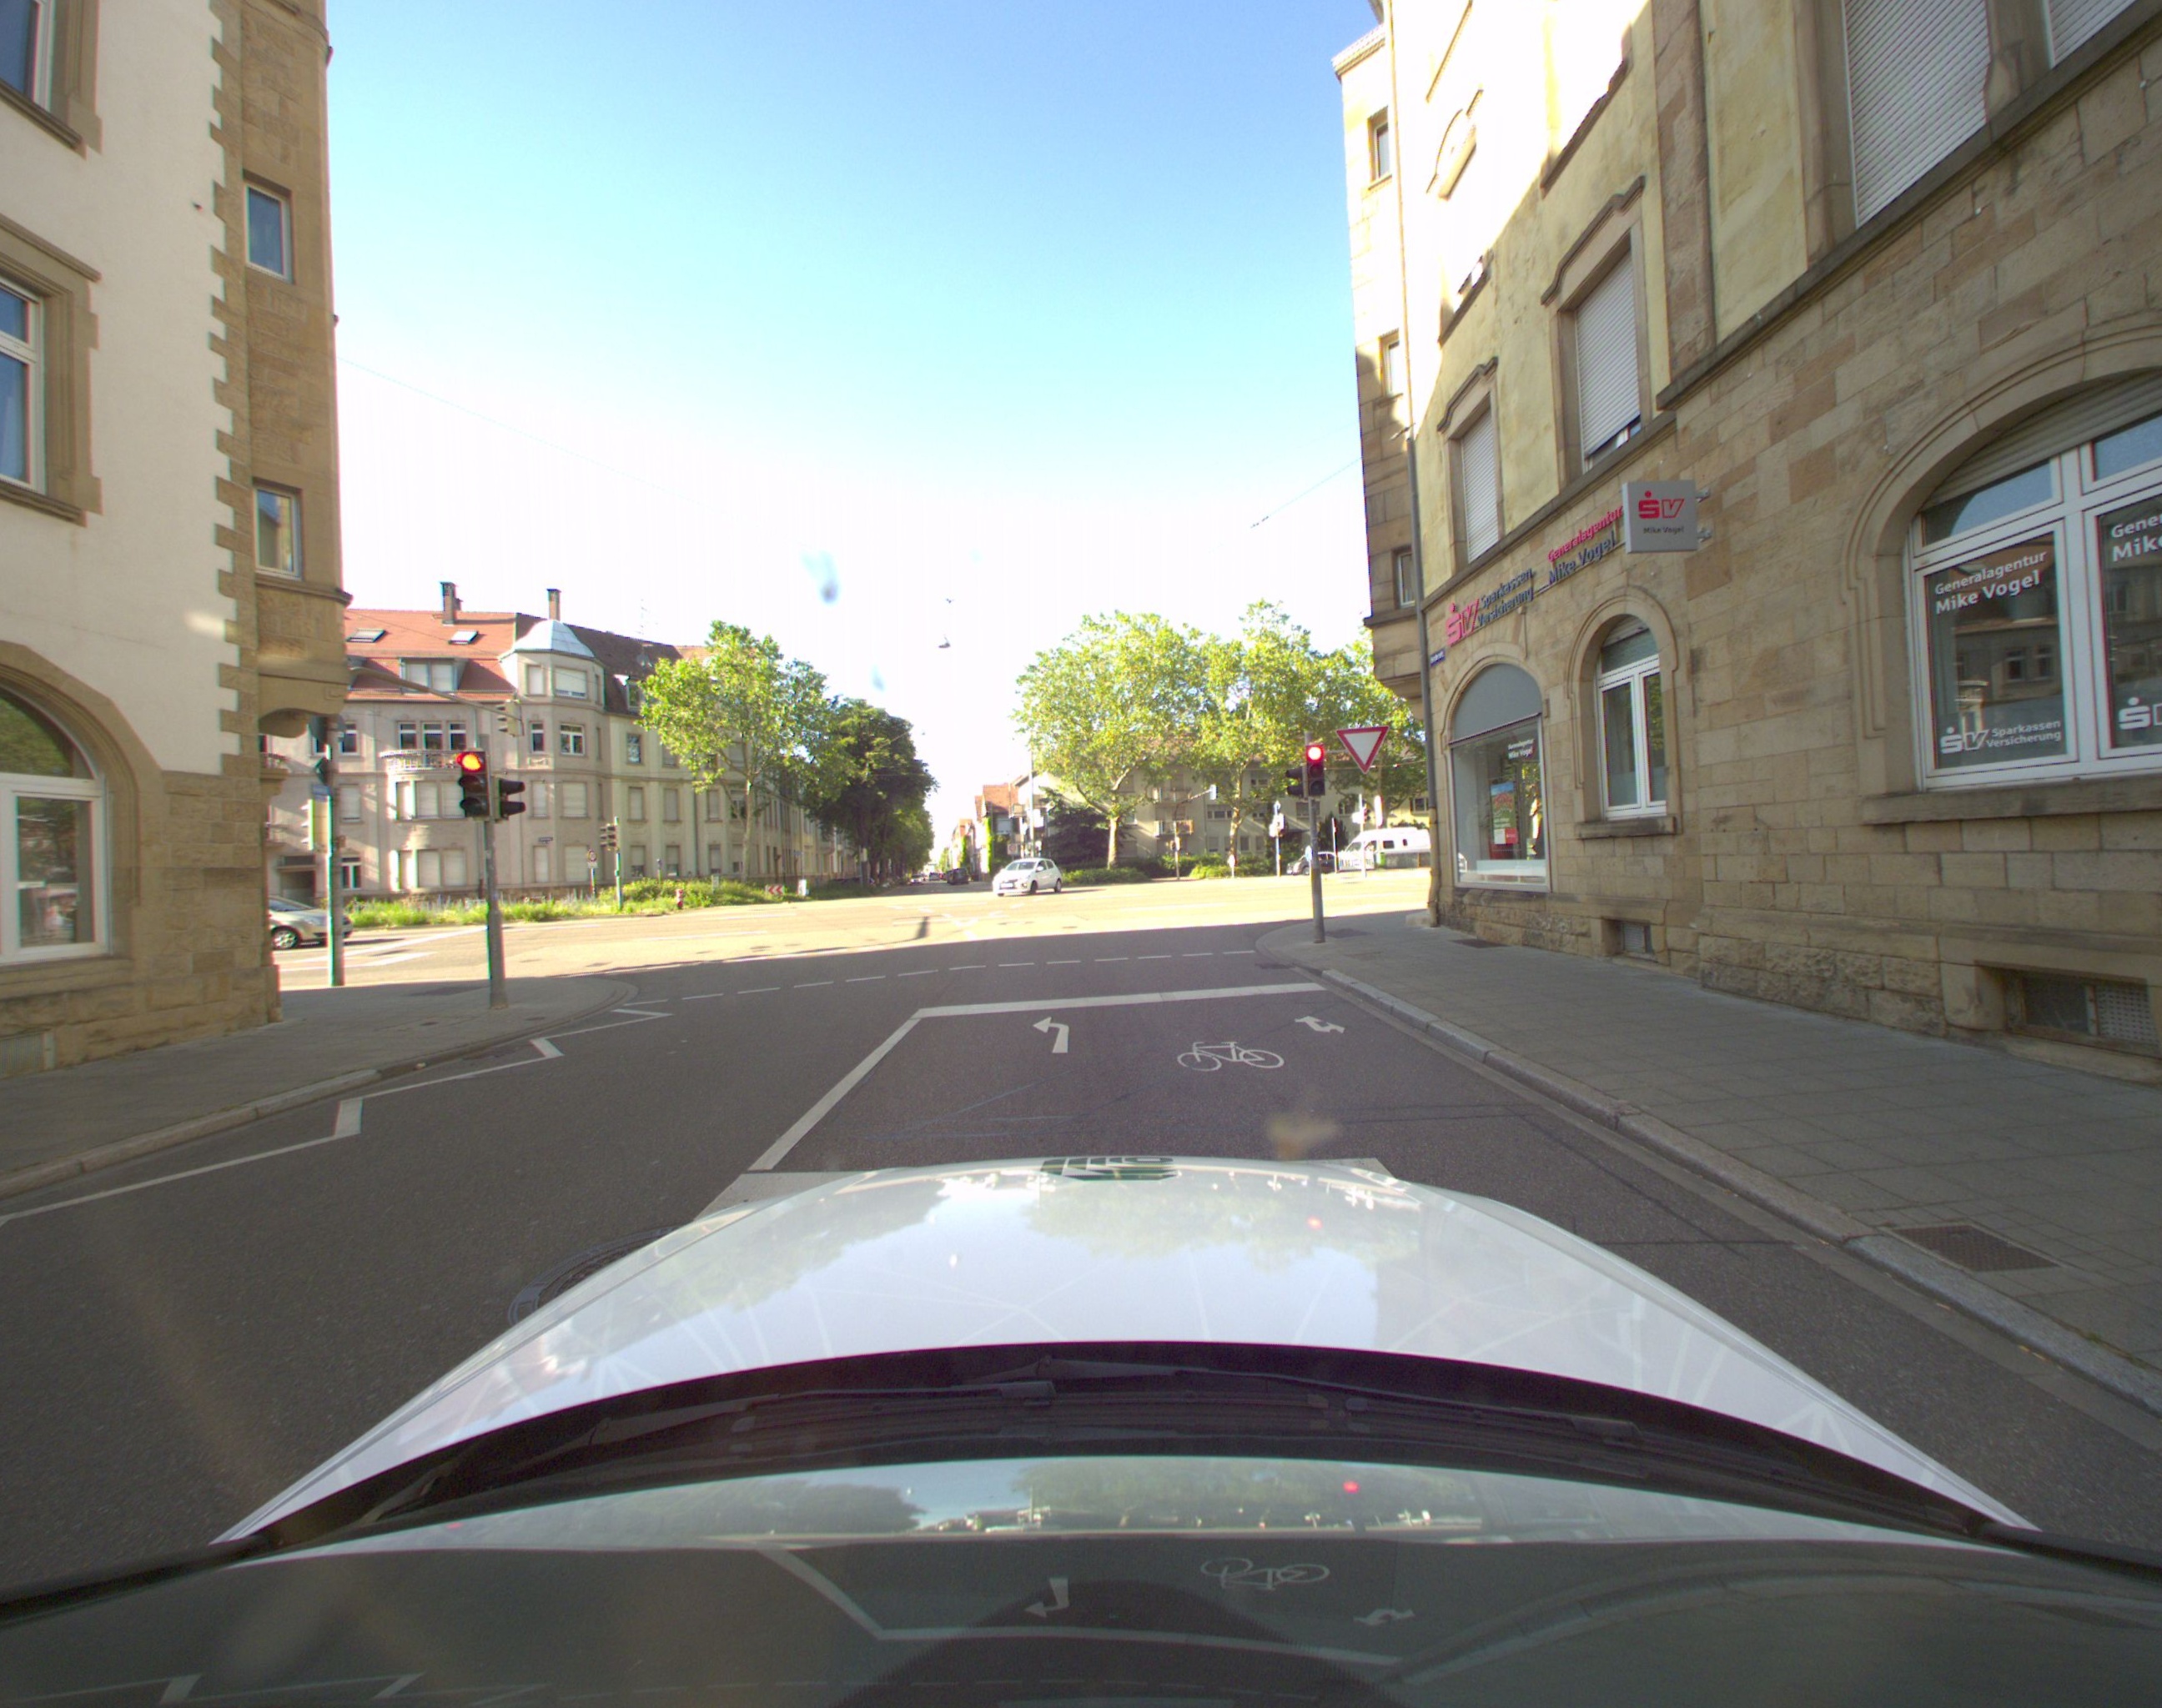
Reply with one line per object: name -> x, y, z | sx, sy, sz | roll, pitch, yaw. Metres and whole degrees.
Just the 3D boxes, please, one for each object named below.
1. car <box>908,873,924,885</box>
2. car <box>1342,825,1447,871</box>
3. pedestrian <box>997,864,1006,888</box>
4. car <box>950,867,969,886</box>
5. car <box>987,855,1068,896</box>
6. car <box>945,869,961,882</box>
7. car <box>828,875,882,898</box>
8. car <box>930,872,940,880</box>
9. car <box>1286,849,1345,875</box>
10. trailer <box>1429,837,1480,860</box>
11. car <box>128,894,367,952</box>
car -> -22.100, 3.382, 108.934 | 1.995, 1.445, 3.983 | -3, 0, -12
car -> 19.584, -0.380, 50.892 | 6.054, 2.568, 1.989 | -3, 0, -17
pedestrian -> -5.900, 1.627, 60.529 | 0.631, 1.750, 0.658 | -2, -1, -2
car -> -14.185, 2.565, 95.203 | 1.992, 2.013, 3.989 | -3, 0, -8
car -> -2.159, 0.857, 33.778 | 1.609, 1.472, 3.822 | -3, 0, 25
car -> -19.835, 3.322, 125.964 | 1.996, 1.833, 3.980 | -1, -1, -14
car -> -17.888, 2.538, 64.368 | 3.997, 1.486, 1.672 | -3, 0, -17
car -> -26.756, 4.067, 149.590 | 1.675, 1.483, 3.507 | -2, -1, -11
car -> 15.143, 0.531, 52.672 | 3.391, 1.487, 1.515 | -3, 0, -20
trailer -> 23.885, -0.347, 52.102 | 2.747, 1.311, 1.263 | -3, 0, -17
car -> -21.813, 1.779, 21.524 | 3.995, 1.319, 1.812 | 0, -2, -16
